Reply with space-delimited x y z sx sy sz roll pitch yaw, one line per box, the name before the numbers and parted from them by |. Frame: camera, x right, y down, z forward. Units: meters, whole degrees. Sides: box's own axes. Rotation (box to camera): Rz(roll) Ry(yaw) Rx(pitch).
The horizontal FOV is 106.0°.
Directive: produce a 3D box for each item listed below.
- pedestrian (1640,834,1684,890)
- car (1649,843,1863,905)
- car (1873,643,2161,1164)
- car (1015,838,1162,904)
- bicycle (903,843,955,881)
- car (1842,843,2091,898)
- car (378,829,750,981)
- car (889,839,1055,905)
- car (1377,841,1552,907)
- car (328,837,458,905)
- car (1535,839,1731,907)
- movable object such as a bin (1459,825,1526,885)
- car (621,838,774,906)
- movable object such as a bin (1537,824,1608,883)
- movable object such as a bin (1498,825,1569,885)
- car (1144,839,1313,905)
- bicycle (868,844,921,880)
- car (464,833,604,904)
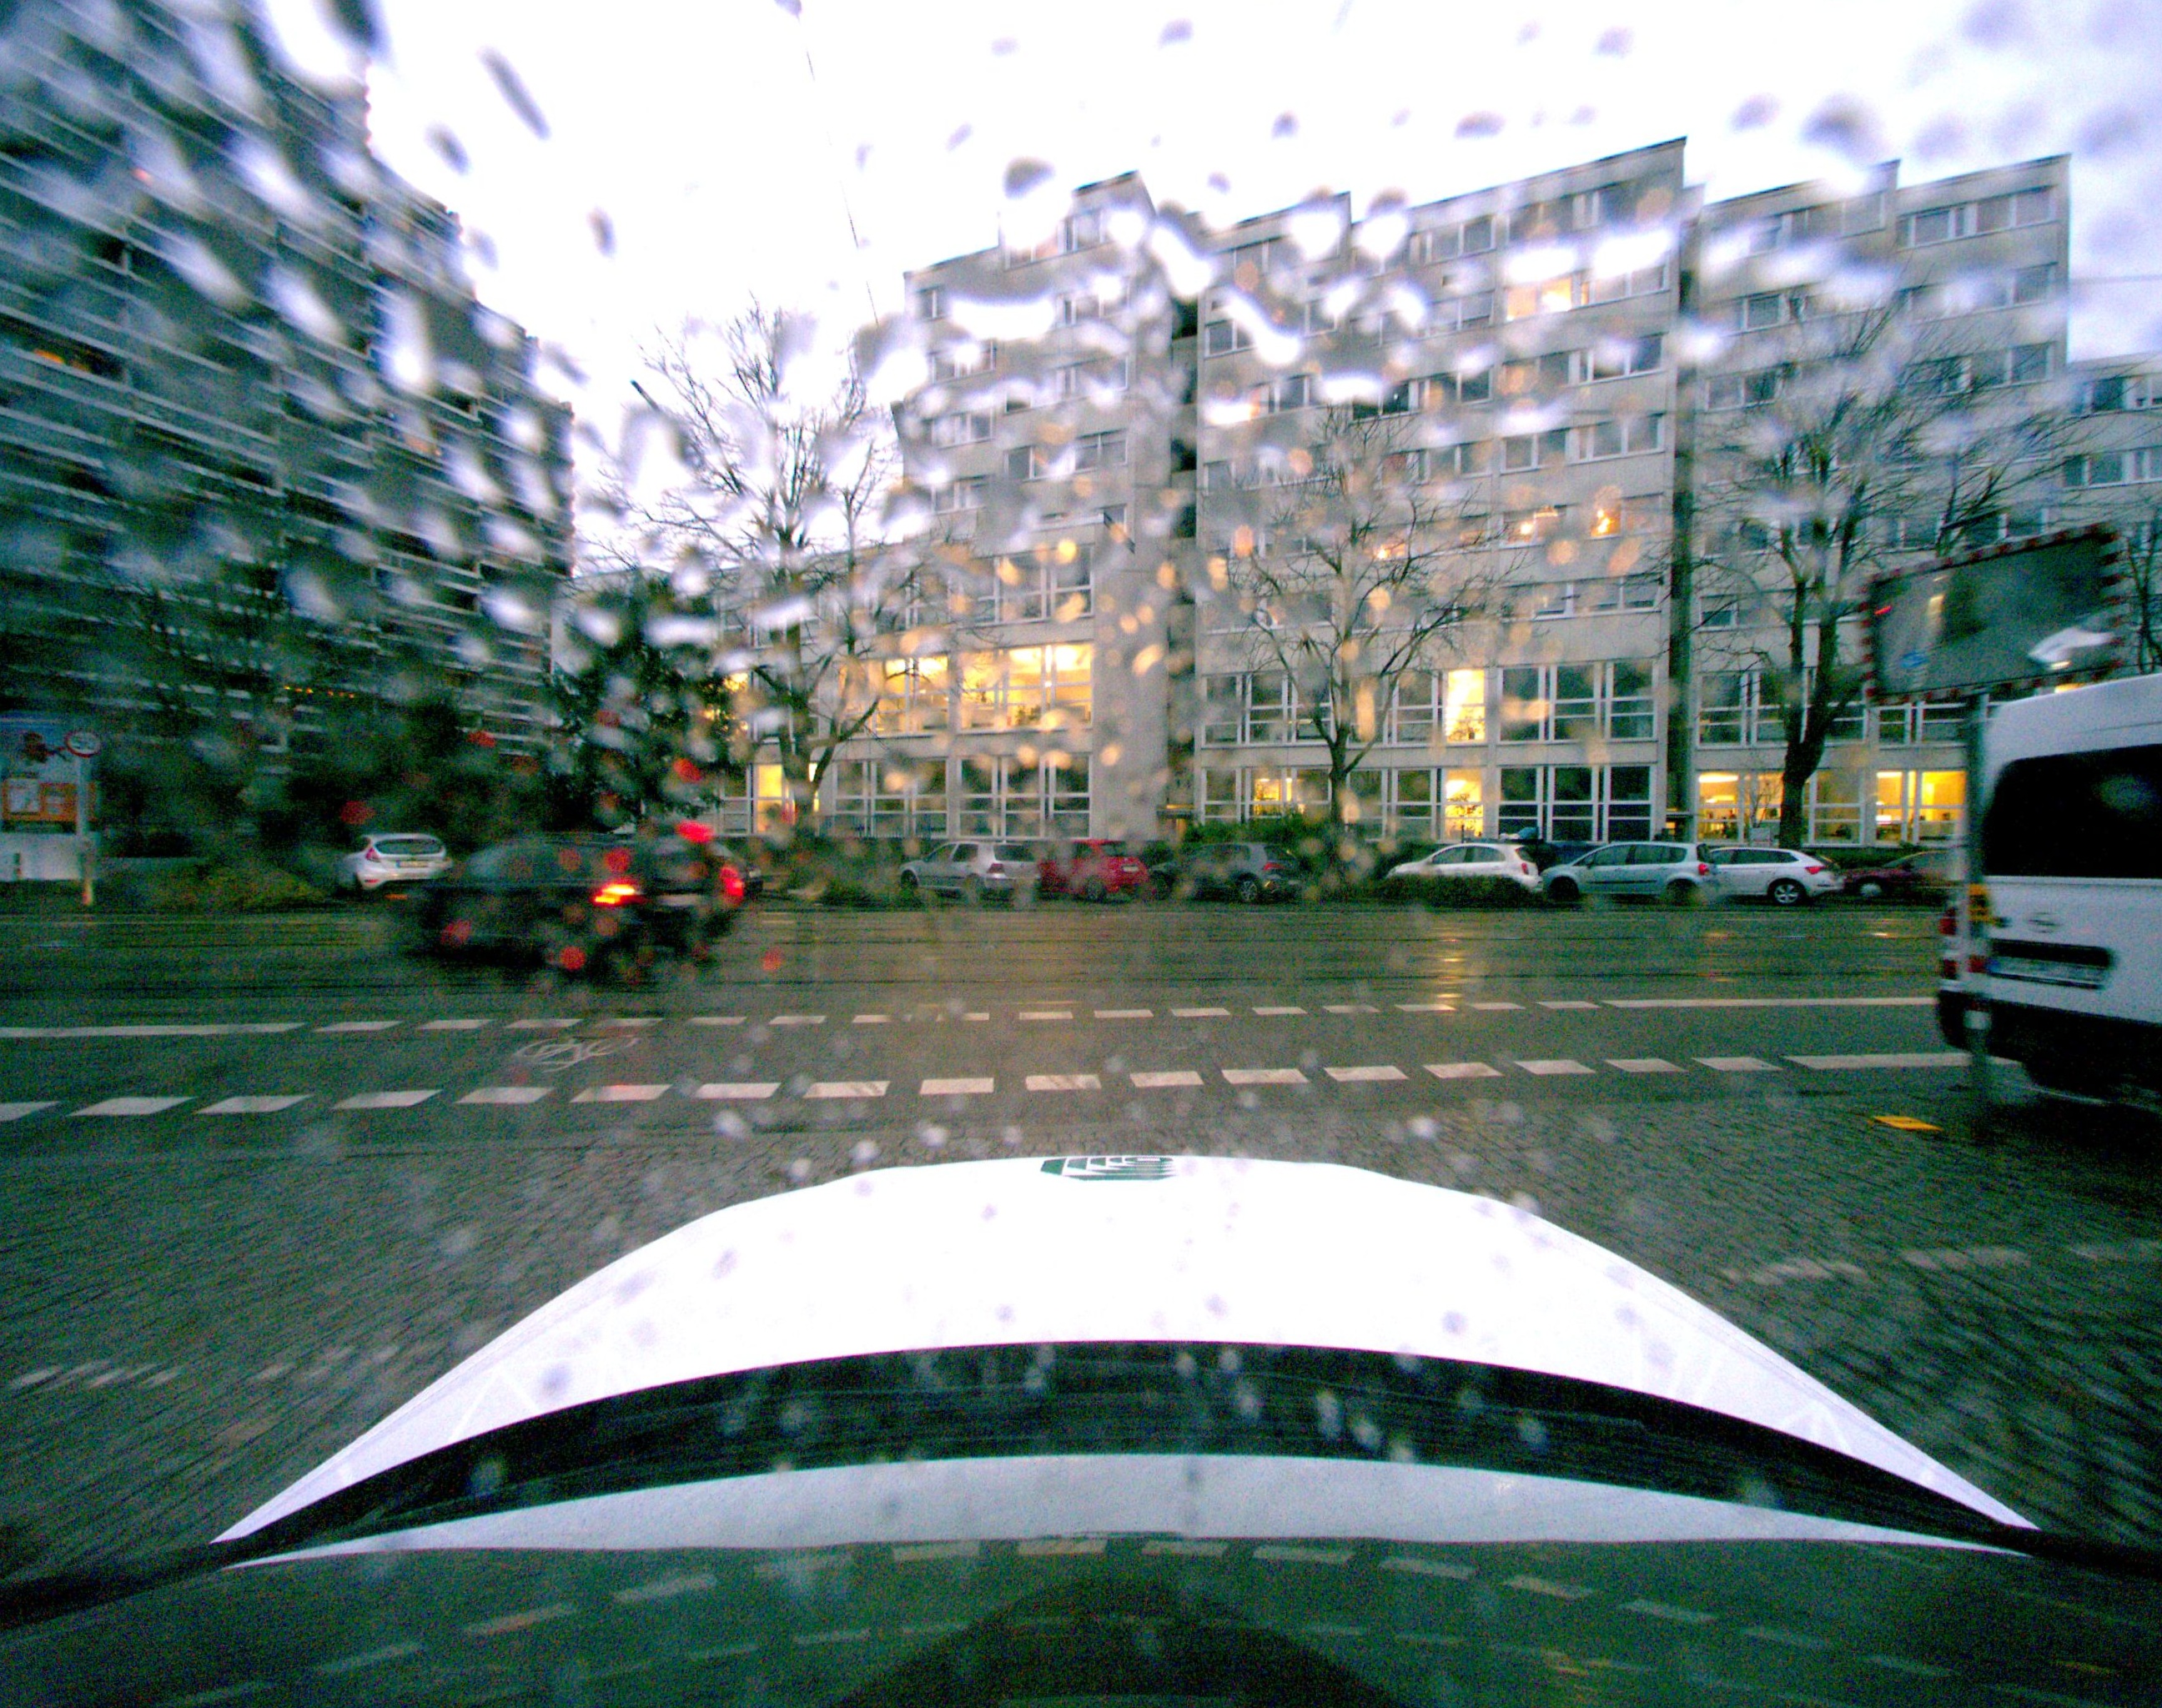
pedestrian | 17.711 0.232 24.836 0.968 1.676 0.598 0 1 -5
car | 17.173 0.449 20.885 1.745 1.444 3.955 1 0 -37
car | 7.815 0.209 4.451 5.416 2.487 2.126 -1 1 -8
car | 0.138 0.370 20.364 3.408 1.492 1.740 1 1 44
bicycle | -4.849 0.233 26.106 0.635 1.120 2.216 0 1 18
car | 23.562 0.386 21.947 4.292 1.352 1.761 0 0 37
car | -6.321 0.501 9.930 4.242 1.544 1.763 0 1 24
car | -2.705 0.368 19.828 3.949 1.446 1.804 0 1 40
car | 9.963 0.457 21.313 3.827 1.551 1.704 0 1 41
car | -15.884 0.321 18.736 3.950 1.399 1.867 1 1 44
car | 14.100 0.420 20.938 3.950 1.563 1.747 1 1 44
movable object such as a bin | 13.291 0.016 26.377 1.310 1.860 1.573 -1 1 -3
car | -8.857 0.344 18.655 3.950 1.378 1.867 1 1 44
movable object such as a bin | 16.020 -0.027 26.582 1.310 1.860 1.573 -1 1 -3
movable object such as a bin | 14.678 0.004 26.492 1.386 1.860 1.573 -1 1 -3
car | 3.607 0.382 20.244 3.805 1.492 1.706 0 1 42
bicycle | -6.026 0.234 26.448 0.635 1.120 2.216 0 1 18
car | -12.666 0.259 18.780 3.950 1.462 1.867 1 1 44
